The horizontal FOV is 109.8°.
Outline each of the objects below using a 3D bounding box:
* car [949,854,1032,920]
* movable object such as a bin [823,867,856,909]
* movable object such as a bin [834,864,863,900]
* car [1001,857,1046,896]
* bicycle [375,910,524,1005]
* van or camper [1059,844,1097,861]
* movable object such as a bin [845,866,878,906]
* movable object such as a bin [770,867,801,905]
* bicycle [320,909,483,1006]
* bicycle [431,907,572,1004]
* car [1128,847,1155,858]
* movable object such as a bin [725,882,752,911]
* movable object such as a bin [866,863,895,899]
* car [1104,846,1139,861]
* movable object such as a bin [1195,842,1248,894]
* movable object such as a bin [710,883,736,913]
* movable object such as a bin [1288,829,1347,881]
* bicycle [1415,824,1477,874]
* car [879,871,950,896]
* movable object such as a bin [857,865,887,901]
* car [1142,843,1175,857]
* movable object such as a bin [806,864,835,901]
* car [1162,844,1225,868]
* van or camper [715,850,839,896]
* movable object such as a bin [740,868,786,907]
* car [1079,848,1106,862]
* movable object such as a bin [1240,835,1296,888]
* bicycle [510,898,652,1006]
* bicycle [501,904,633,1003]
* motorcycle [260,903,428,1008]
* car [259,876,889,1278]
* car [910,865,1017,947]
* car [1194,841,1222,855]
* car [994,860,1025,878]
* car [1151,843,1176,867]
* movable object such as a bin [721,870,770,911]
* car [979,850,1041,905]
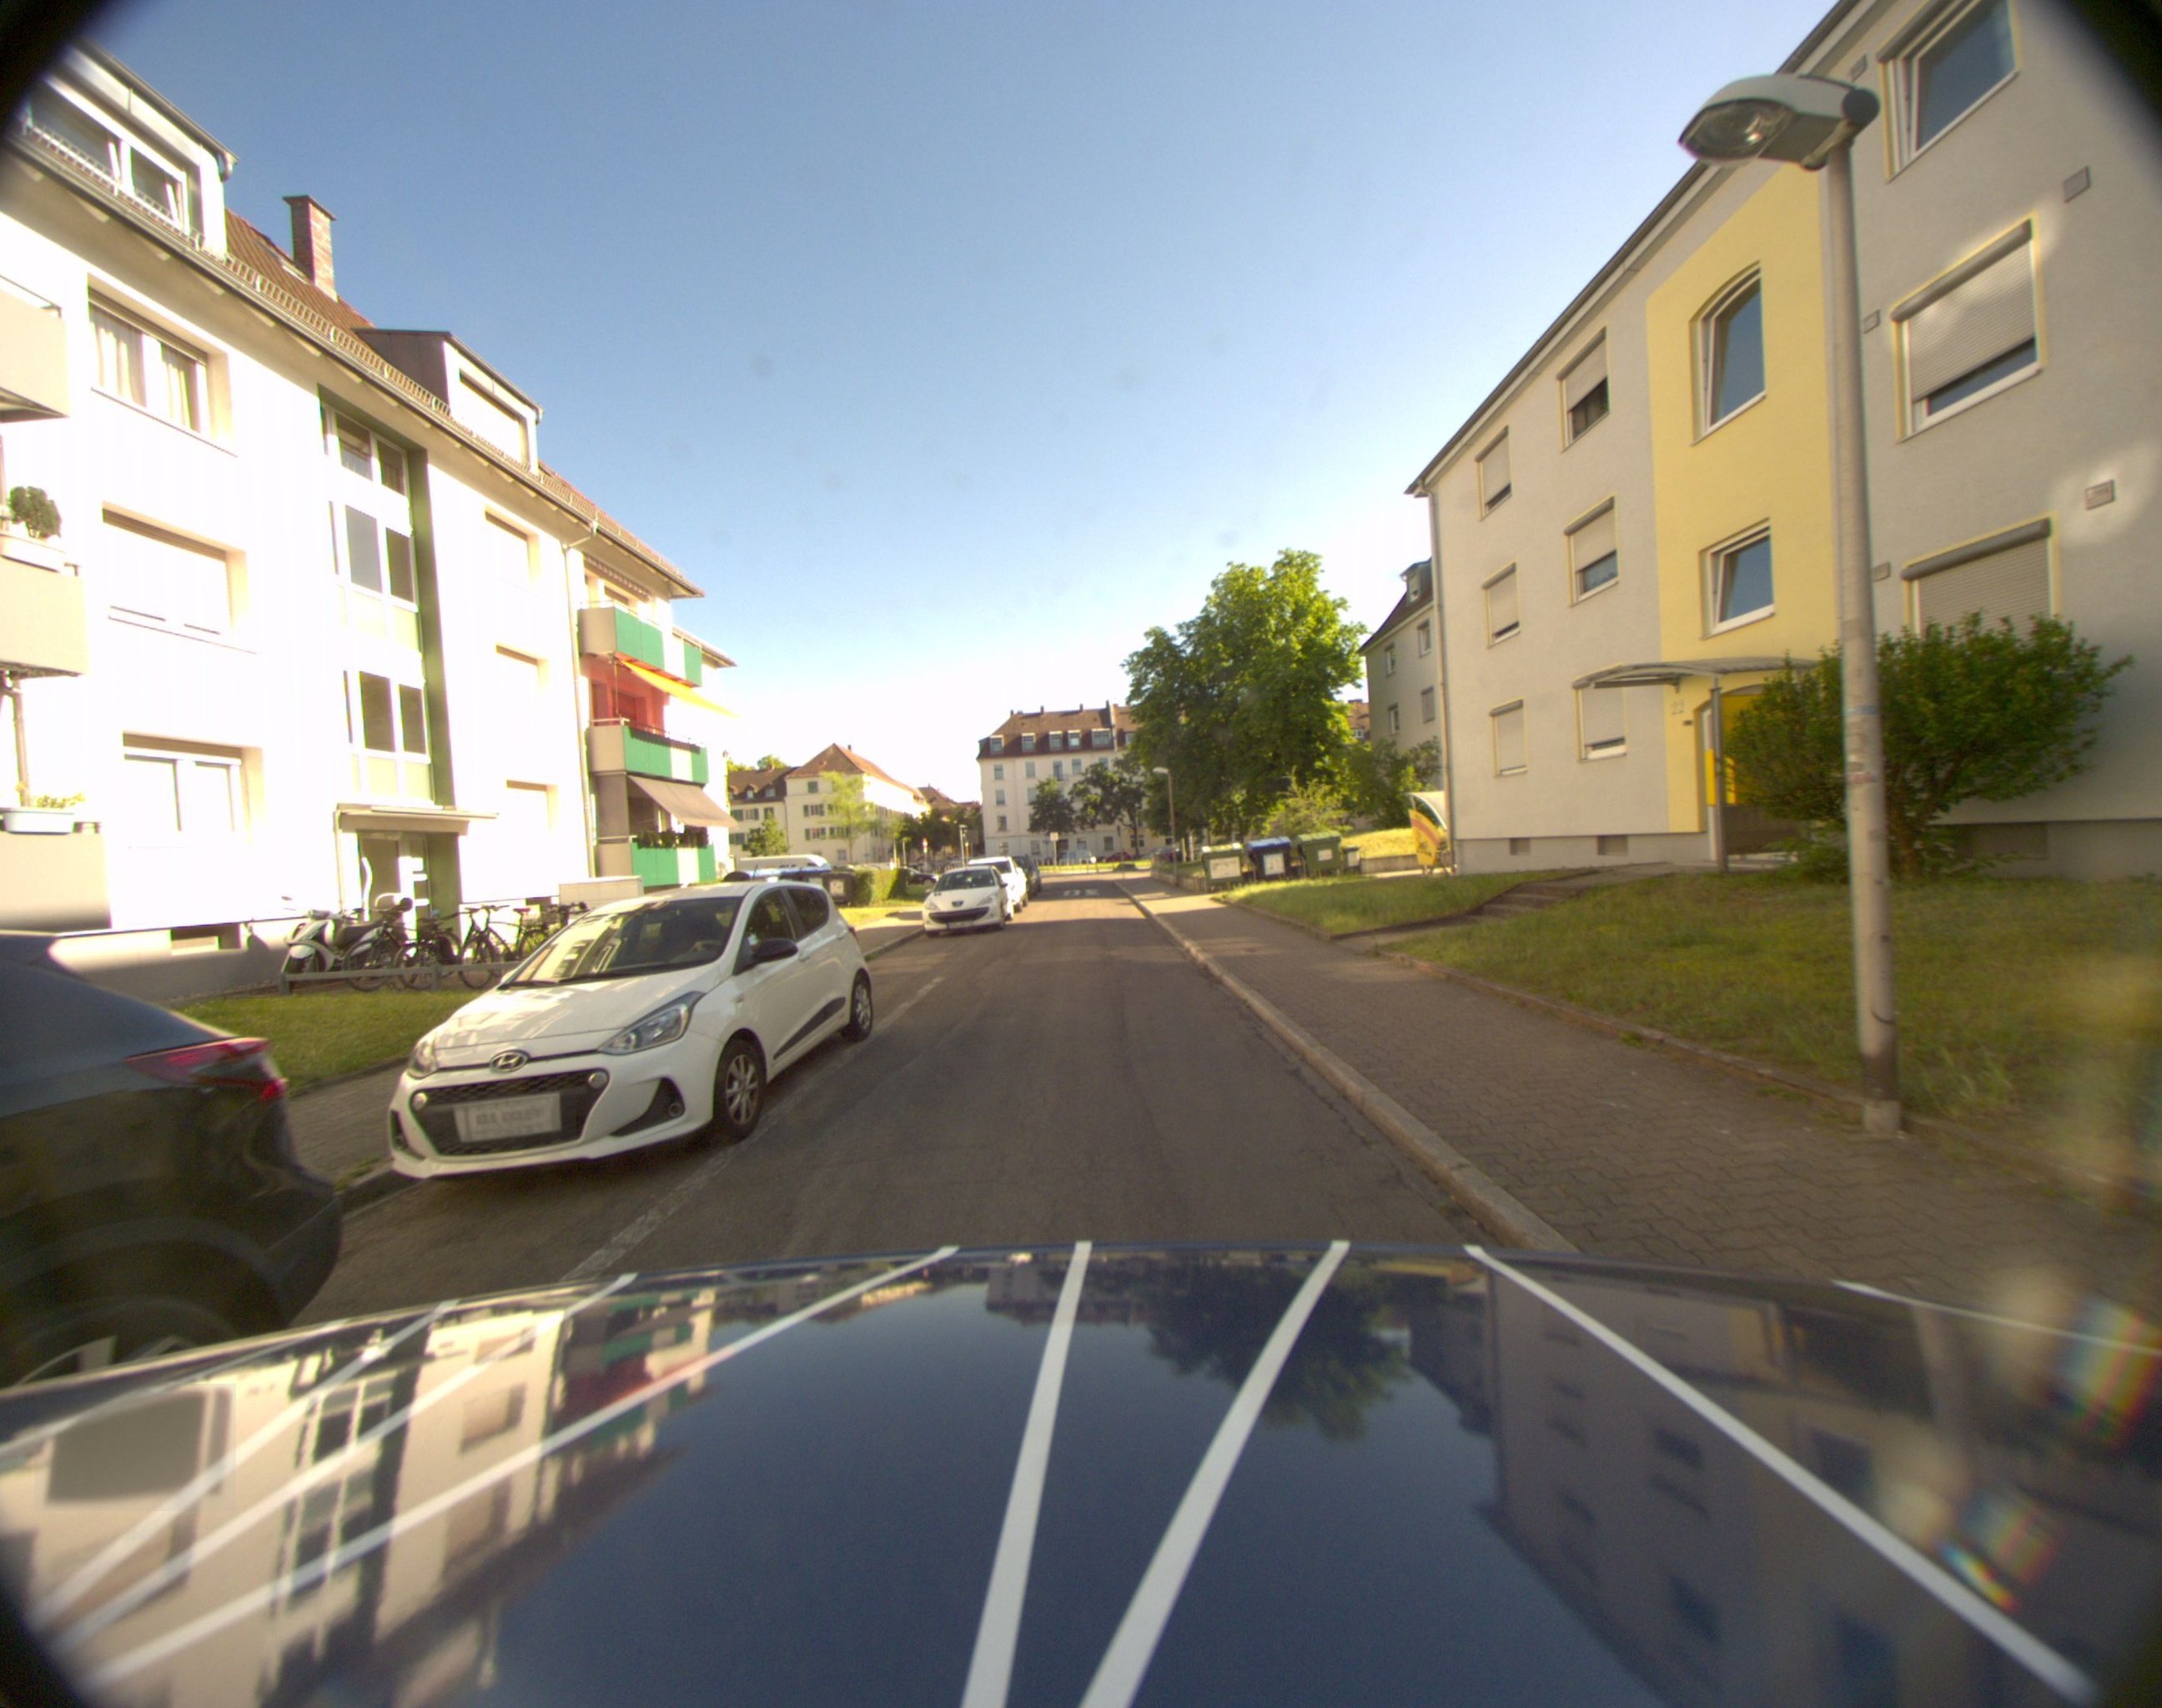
[{"bbox_3d":[-2.575,0.882,22.688,1.805,1.583,4.581,-5,0,0],"label":"car"},{"bbox_3d":[-8.748,1.235,27.553,0.866,1.439,0.922,-3,1,-4],"label":"movable object such as a bin"},{"bbox_3d":[-9.679,1.149,31.637,0.866,1.439,0.922,-3,1,-4],"label":"movable object such as a bin"},{"bbox_3d":[-2.638,1.007,35.503,1.728,1.528,3.951,-6,1,-1],"label":"car"},{"bbox_3d":[-8.908,1.419,10.832,0.539,1.076,1.872,-1,0,0],"label":"bicycle"},{"bbox_3d":[-0.395,-0.197,89.647,4.355,1.852,1.999,-3,1,-2],"label":"van or camper"},{"bbox_3d":[-8.346,1.193,28.961,0.921,1.439,0.866,-3,1,-1],"label":"movable object such as a bin"},{"bbox_3d":[-12.275,1.326,31.625,0.866,1.511,0.922,-3,1,-1],"label":"movable object such as a bin"},{"bbox_3d":[-9.636,1.424,10.895,0.598,1.109,1.872,-3,0,0],"label":"bicycle"},{"bbox_3d":[-8.190,1.387,10.855,0.545,1.114,1.872,-2,0,0],"label":"bicycle"},{"bbox_3d":[7.536,-0.196,94.895,3.192,1.311,1.545,-3,1,0],"label":"car"},{"bbox_3d":[-12.587,1.556,27.920,0.718,1.047,0.580,0,1,-2],"label":"movable object such as a bin"},{"bbox_3d":[-8.290,1.105,31.430,0.921,1.390,0.866,-3,1,-1],"label":"movable object such as a bin"},{"bbox_3d":[4.783,-0.052,89.293,3.996,1.477,1.722,-3,1,2],"label":"car"},{"bbox_3d":[4.414,0.425,23.993,1.318,1.451,1.198,-7,1,0],"label":"movable object such as a bin"},{"bbox_3d":[-12.813,1.573,27.208,0.628,1.047,0.580,0,1,-2],"label":"movable object such as a bin"},{"bbox_3d":[7.476,0.032,24.063,1.363,1.445,1.072,-8,1,0],"label":"movable object such as a bin"},{"bbox_3d":[9.814,-0.139,20.510,0.641,1.243,2.009,-4,1,1],"label":"bicycle"},{"bbox_3d":[-10.509,1.852,48.168,3.996,1.342,1.802,-3,1,2],"label":"car"},{"bbox_3d":[-8.301,1.141,30.204,0.921,1.318,0.866,-3,1,-1],"label":"movable object such as a bin"},{"bbox_3d":[9.072,-0.440,89.234,3.787,1.437,1.625,-3,1,2],"label":"car"},{"bbox_3d":[-10.791,1.164,31.492,0.866,1.439,0.922,-3,1,-4],"label":"movable object such as a bin"},{"bbox_3d":[7.951,0.160,53.937,4.140,1.488,1.729,-3,1,0],"label":"car"},{"bbox_3d":[-19.377,1.192,48.660,6.980,2.486,2.177,-3,1,2],"label":"van or camper"},{"bbox_3d":[-12.721,1.332,30.472,1.239,1.439,1.278,-3,1,-2],"label":"movable object such as a bin"},{"bbox_3d":[1.427,0.139,94.530,3.192,1.499,1.545,-3,1,0],"label":"car"},{"bbox_3d":[5.895,0.231,24.051,1.358,1.451,1.082,-8,1,0],"label":"movable object such as a bin"},{"bbox_3d":[-6.533,1.231,10.062,0.546,1.163,1.873,-2,1,2],"label":"bicycle"},{"bbox_3d":[-7.236,1.357,10.815,0.579,1.126,1.872,-2,0,0],"label":"bicycle"},{"bbox_3d":[-10.636,1.416,11.079,0.442,1.231,1.976,-2,0,0],"label":"motorcycle"},{"bbox_3d":[-2.783,1.073,5.378,1.717,1.501,3.853,-7,1,0],"label":"car"},{"bbox_3d":[-2.533,1.072,17.363,1.695,1.410,4.097,-6,1,0],"label":"car"},{"bbox_3d":[15.812,-0.765,95.000,3.192,1.499,1.545,-3,1,0],"label":"car"},{"bbox_3d":[-6.316,1.318,66.817,1.674,1.433,3.794,-3,1,-23],"label":"car"},{"bbox_3d":[6.198,0.065,57.104,1.678,1.645,3.305,-3,1,4],"label":"car"},{"bbox_3d":[-12.805,1.380,29.064,1.239,1.439,1.278,-3,1,-2],"label":"movable object such as a bin"},{"bbox_3d":[-2.691,0.857,29.879,1.855,1.790,4.253,-7,1,0],"label":"car"}]
